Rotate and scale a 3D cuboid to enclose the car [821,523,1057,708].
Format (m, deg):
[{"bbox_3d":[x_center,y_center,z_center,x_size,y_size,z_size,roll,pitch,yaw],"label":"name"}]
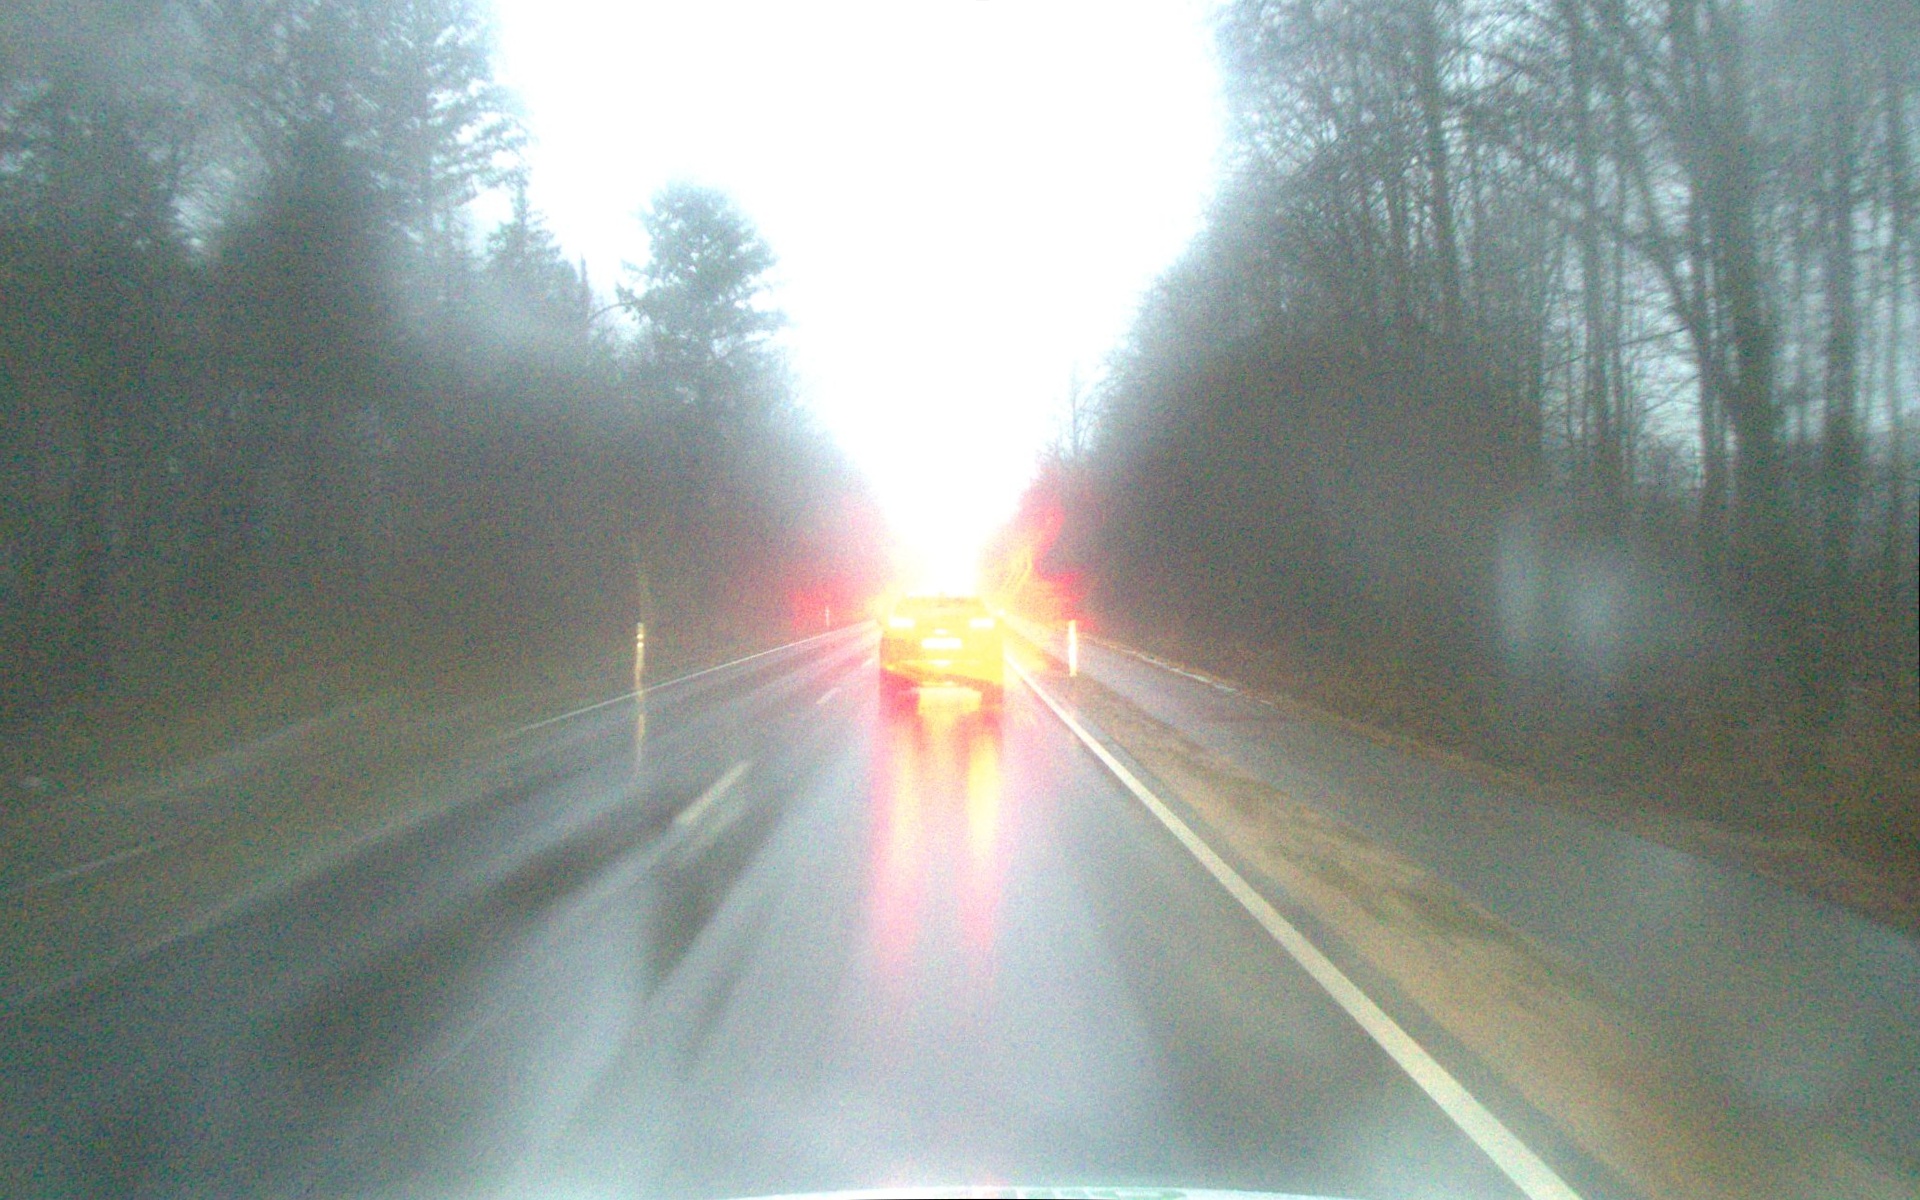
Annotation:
[{"bbox_3d":[-0.293,0.200,25.392,3.118,2.428,6.635,1,0,0],"label":"car"}]
